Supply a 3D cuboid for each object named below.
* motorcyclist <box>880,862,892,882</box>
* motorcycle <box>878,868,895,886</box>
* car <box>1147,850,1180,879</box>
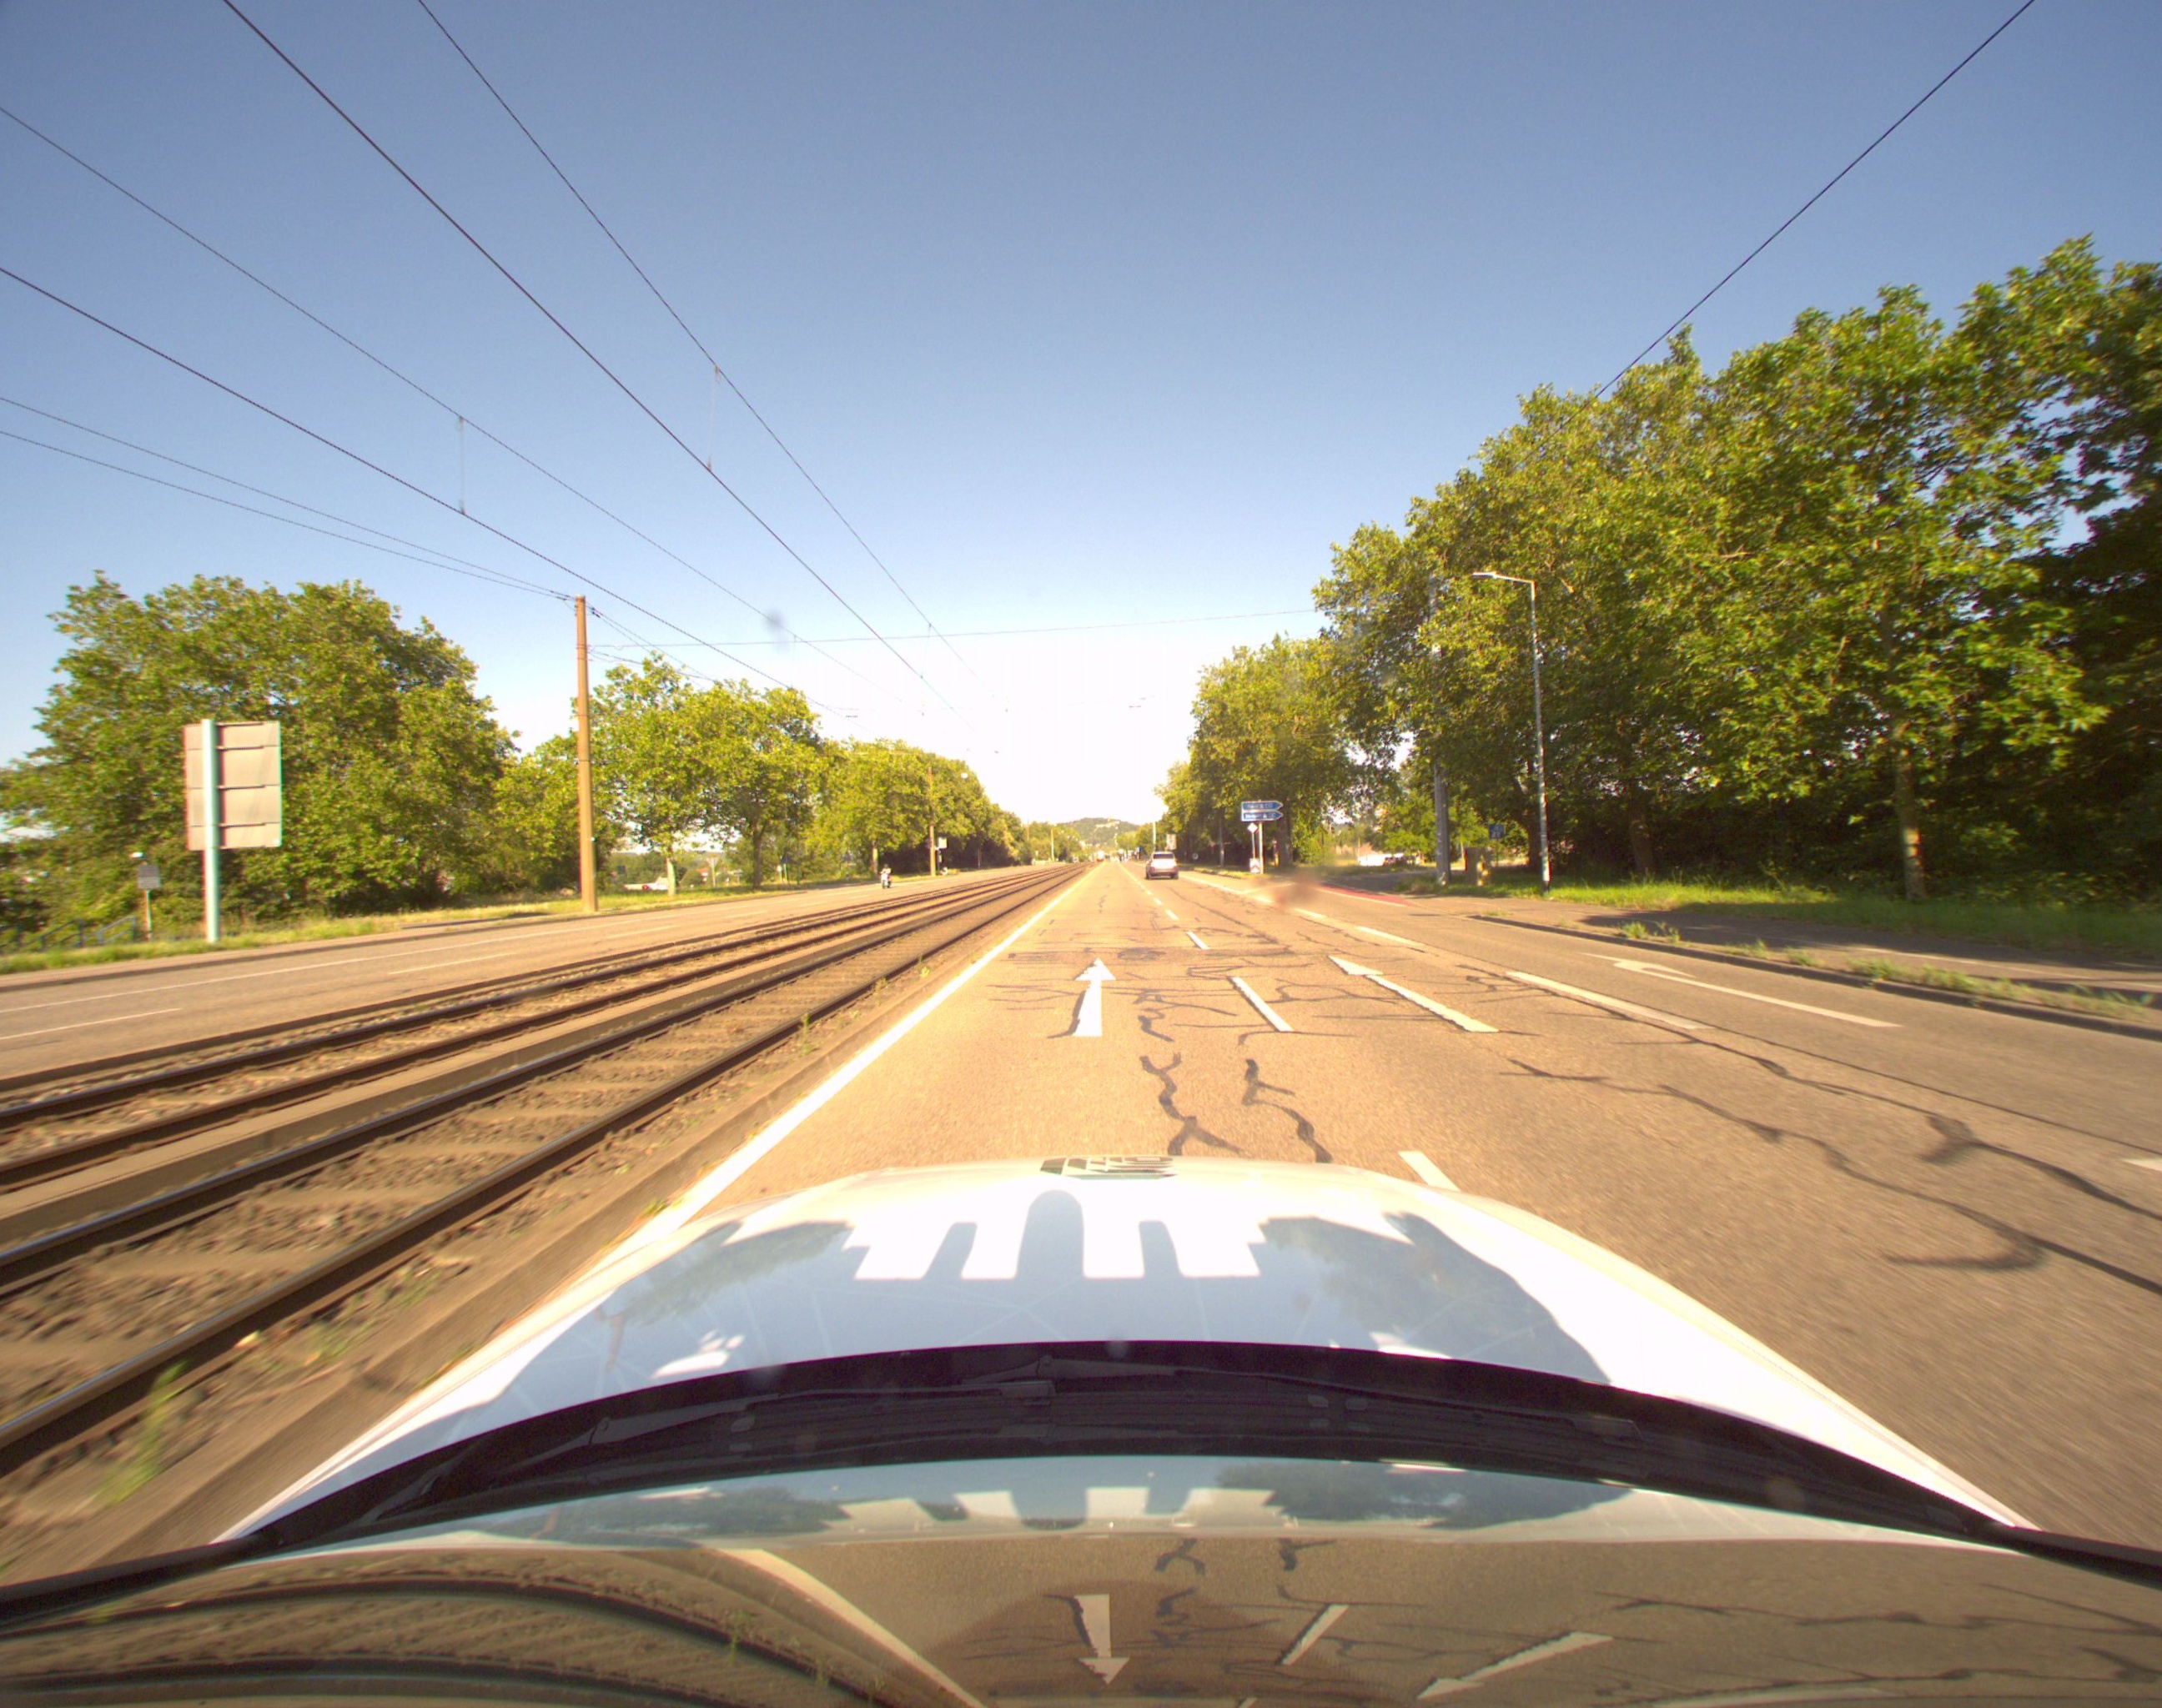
[{"bbox_3d":[-12.367,1.157,51.760,0.533,1.270,0.805,0,-1,2],"label":"motorcyclist"},{"bbox_3d":[-12.364,1.437,51.804,0.533,1.091,1.903,0,0,2],"label":"motorcycle"},{"bbox_3d":[5.078,0.632,50.520,1.879,1.693,4.261,-1,-1,4],"label":"car"}]
